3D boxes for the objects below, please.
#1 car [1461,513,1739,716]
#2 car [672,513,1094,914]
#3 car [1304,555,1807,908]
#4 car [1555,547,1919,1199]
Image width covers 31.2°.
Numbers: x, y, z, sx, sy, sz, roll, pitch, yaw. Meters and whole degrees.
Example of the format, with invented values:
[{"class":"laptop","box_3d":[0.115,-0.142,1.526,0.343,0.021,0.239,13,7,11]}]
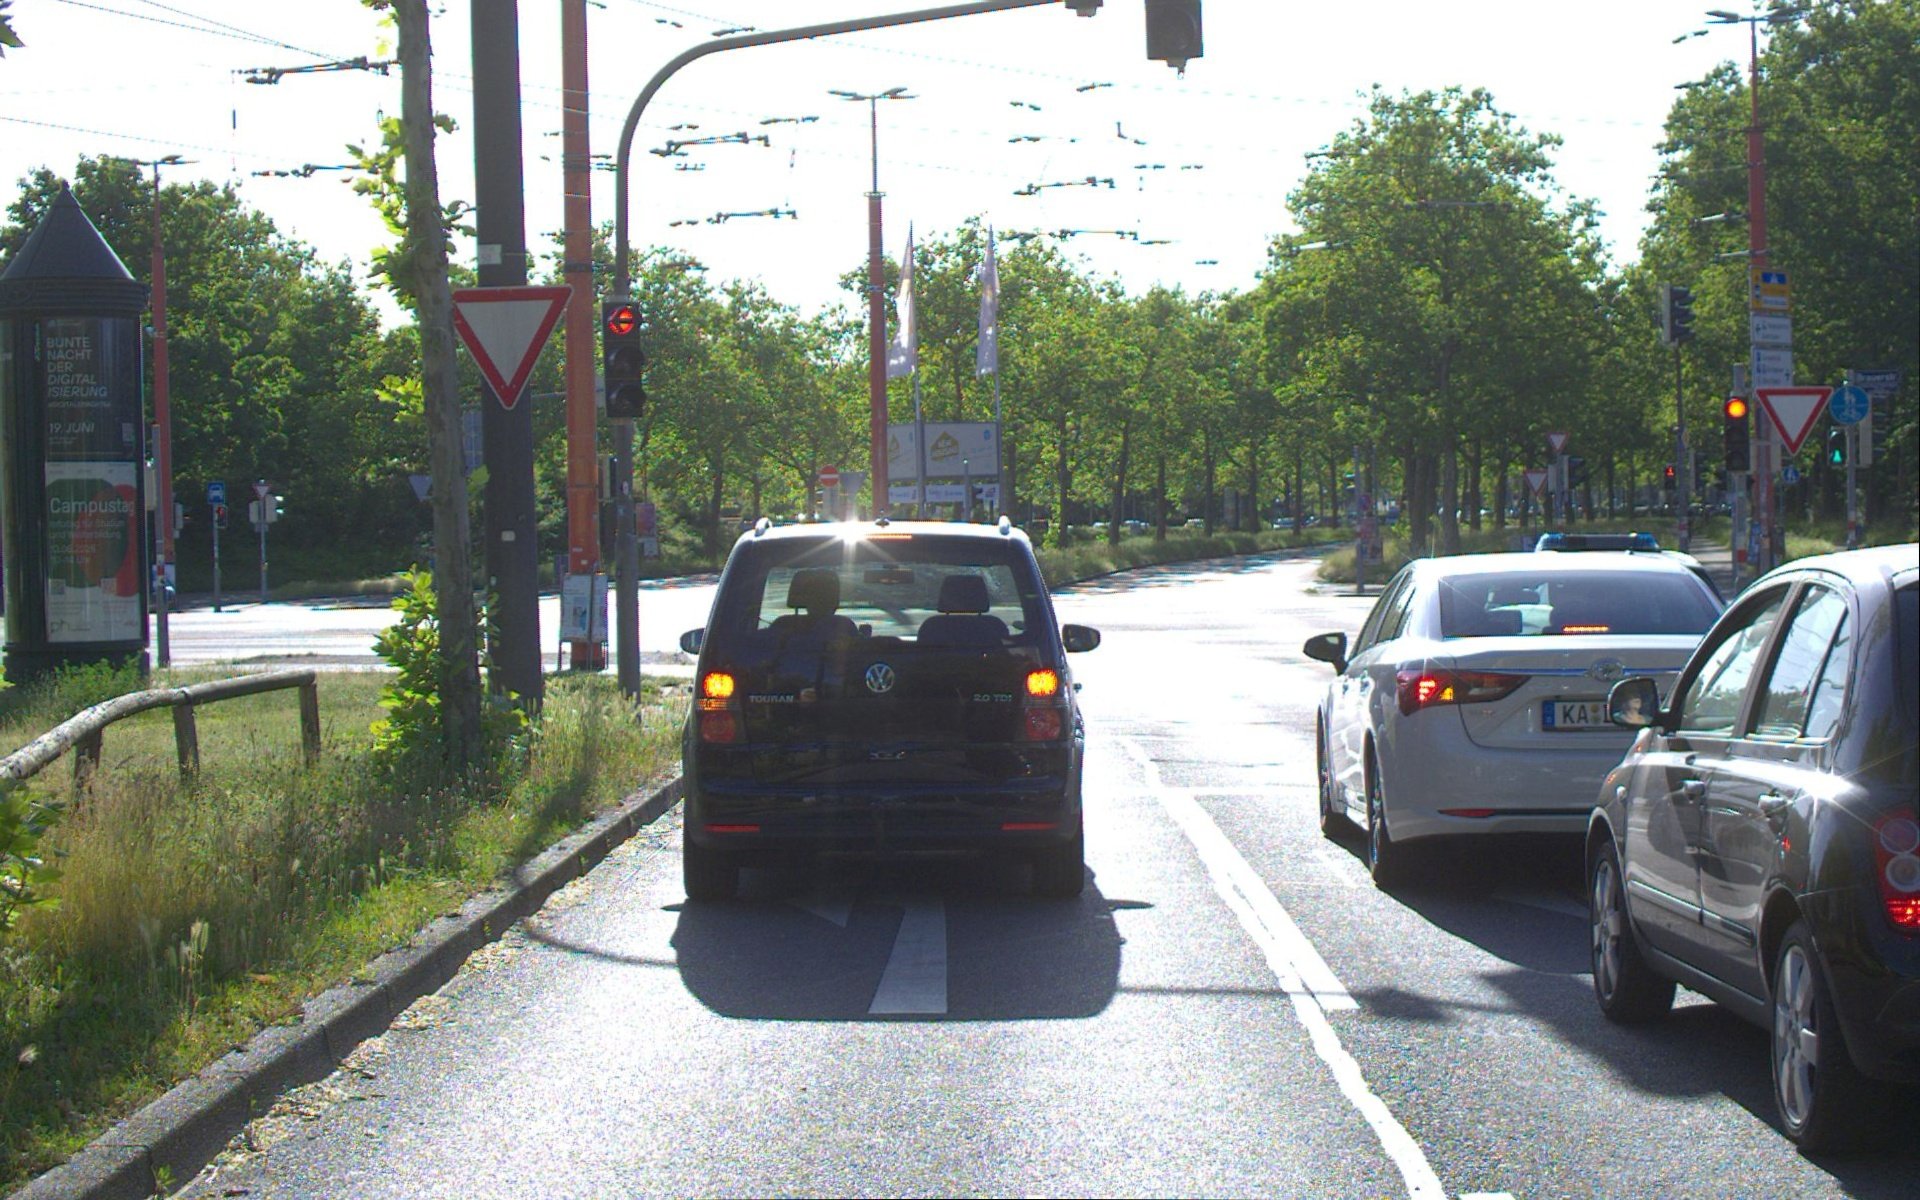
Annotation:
[{"class":"car","box_3d":[5.570,0.086,30.376,1.797,1.650,4.114,-1,1,2]},{"class":"car","box_3d":[-0.339,0.428,15.977,1.700,1.616,3.897,-1,1,-1]},{"class":"car","box_3d":[2.658,0.514,16.248,1.720,1.433,4.198,0,1,1]},{"class":"car","box_3d":[2.820,0.606,9.706,1.654,1.495,3.615,0,1,0]}]
